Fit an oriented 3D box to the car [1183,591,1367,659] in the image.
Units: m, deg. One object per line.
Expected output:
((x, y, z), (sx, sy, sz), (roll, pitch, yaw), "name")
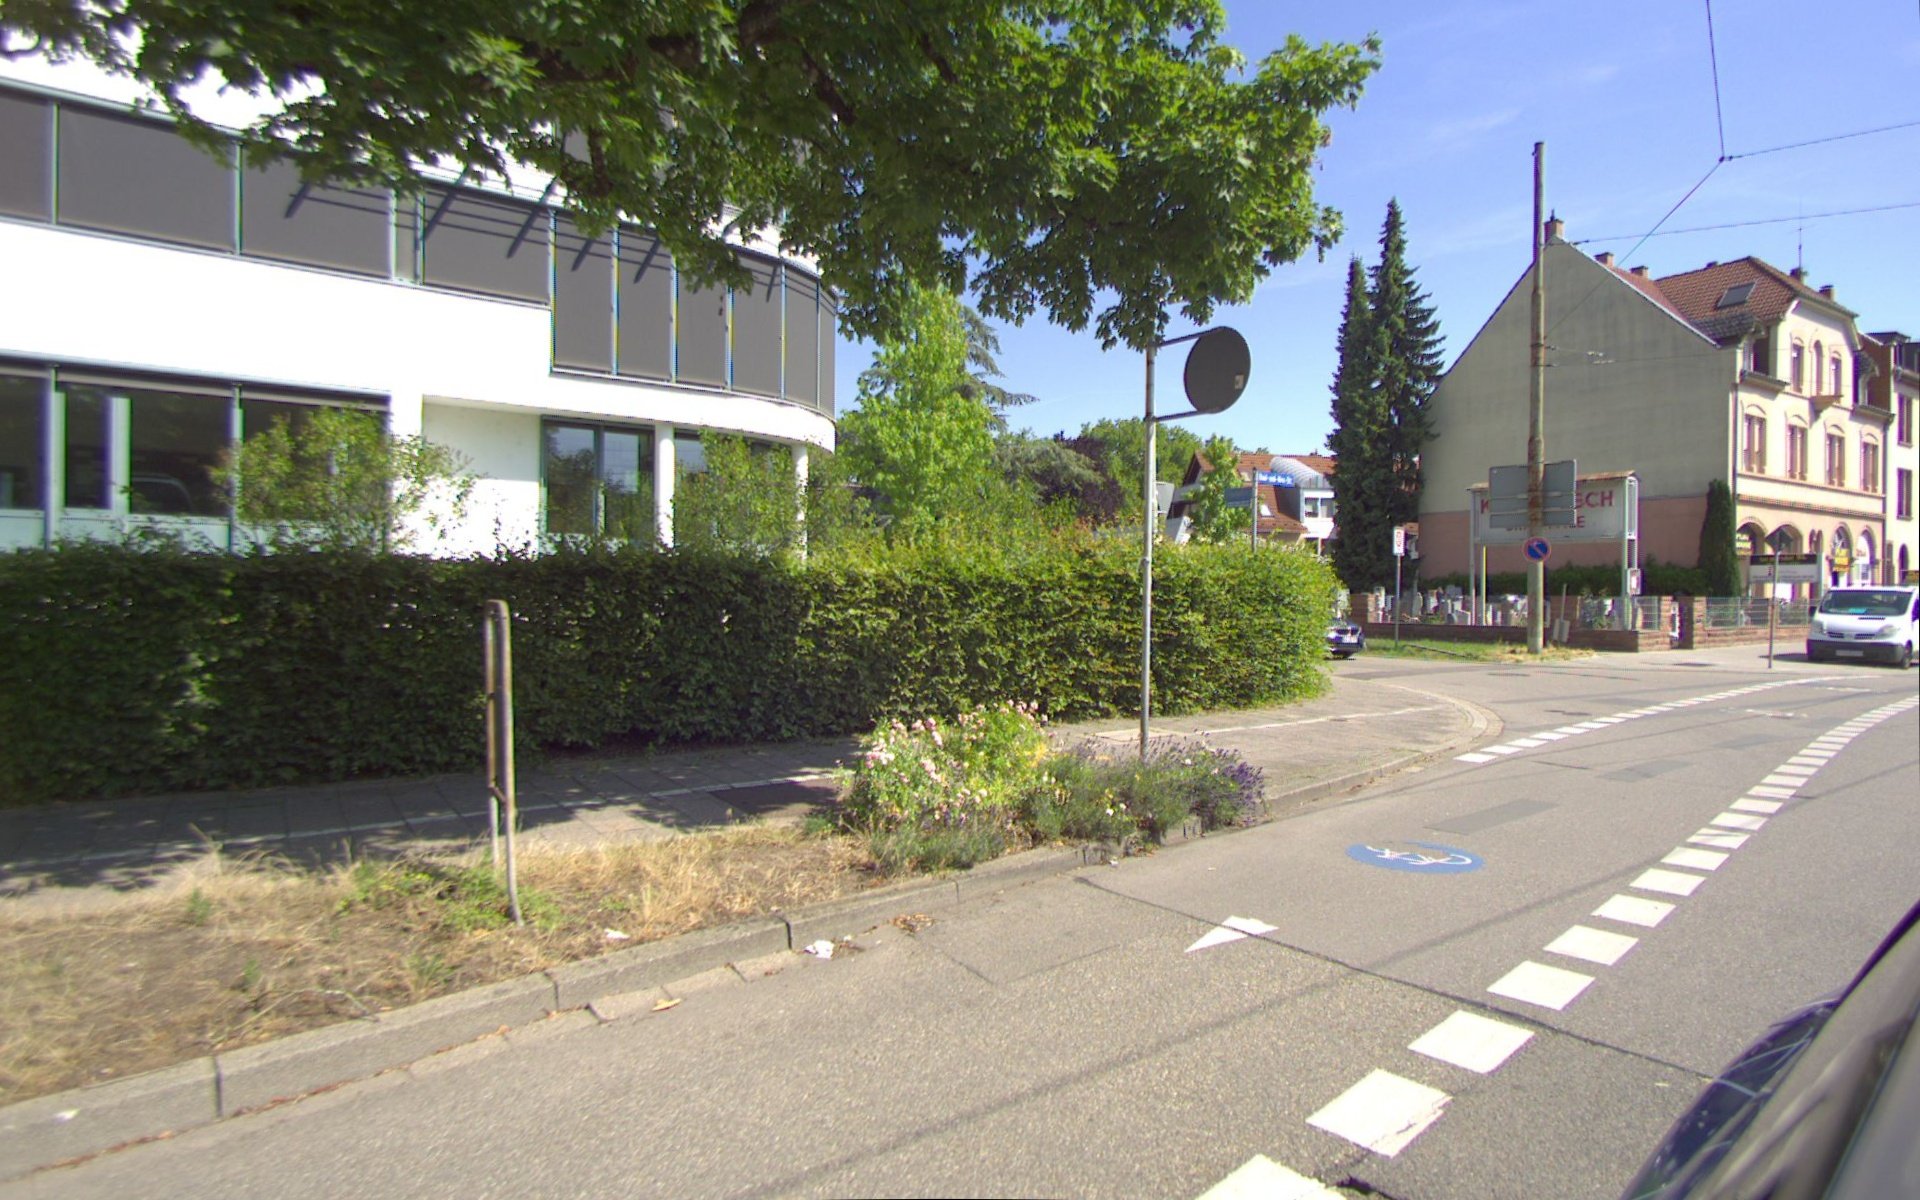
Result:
((6.989, 0.505, 22.765), (1.639, 1.405, 3.758), (0, 0, -34), "car")

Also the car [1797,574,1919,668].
((22.768, 0.435, 24.879), (5.091, 2.080, 1.984), (0, 2, -34), "car")

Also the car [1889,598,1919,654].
((27.720, 0.722, 28.265), (4.230, 1.461, 1.728), (0, 2, -35), "car")
